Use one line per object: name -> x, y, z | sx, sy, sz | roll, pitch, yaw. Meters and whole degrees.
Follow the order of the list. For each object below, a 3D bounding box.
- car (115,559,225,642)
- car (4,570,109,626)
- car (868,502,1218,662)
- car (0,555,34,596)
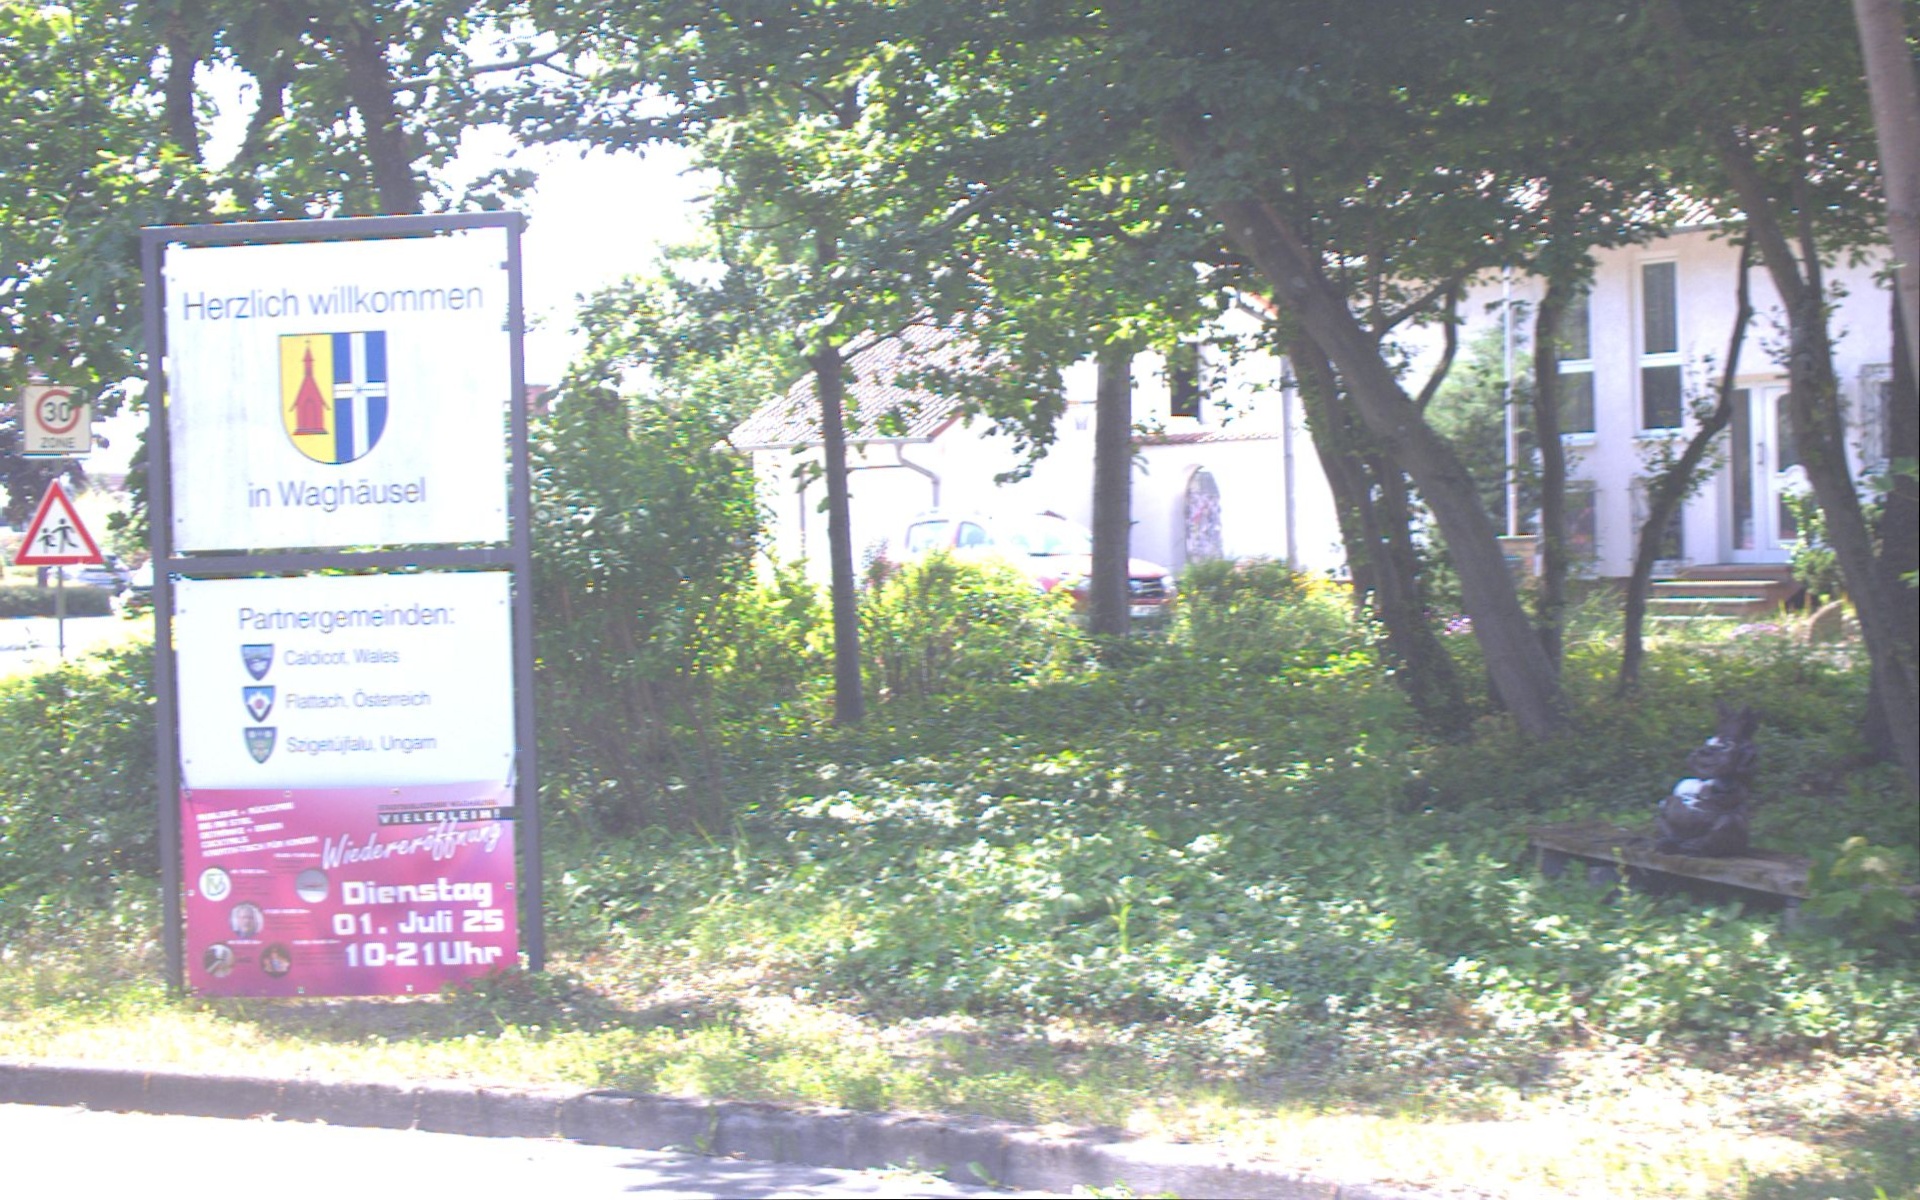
car -> -13.354, -0.015, 58.261 | 1.614, 1.284, 3.558 | -2, 1, -10
car -> -25.106, -0.053, 95.474 | 1.628, 1.481, 4.000 | -3, 1, -32
car -> 0.838, -0.203, 37.074 | 1.661, 1.596, 4.026 | -2, 1, -35
car -> -32.137, -0.790, 112.927 | 1.994, 1.284, 3.999 | -2, 1, -36
